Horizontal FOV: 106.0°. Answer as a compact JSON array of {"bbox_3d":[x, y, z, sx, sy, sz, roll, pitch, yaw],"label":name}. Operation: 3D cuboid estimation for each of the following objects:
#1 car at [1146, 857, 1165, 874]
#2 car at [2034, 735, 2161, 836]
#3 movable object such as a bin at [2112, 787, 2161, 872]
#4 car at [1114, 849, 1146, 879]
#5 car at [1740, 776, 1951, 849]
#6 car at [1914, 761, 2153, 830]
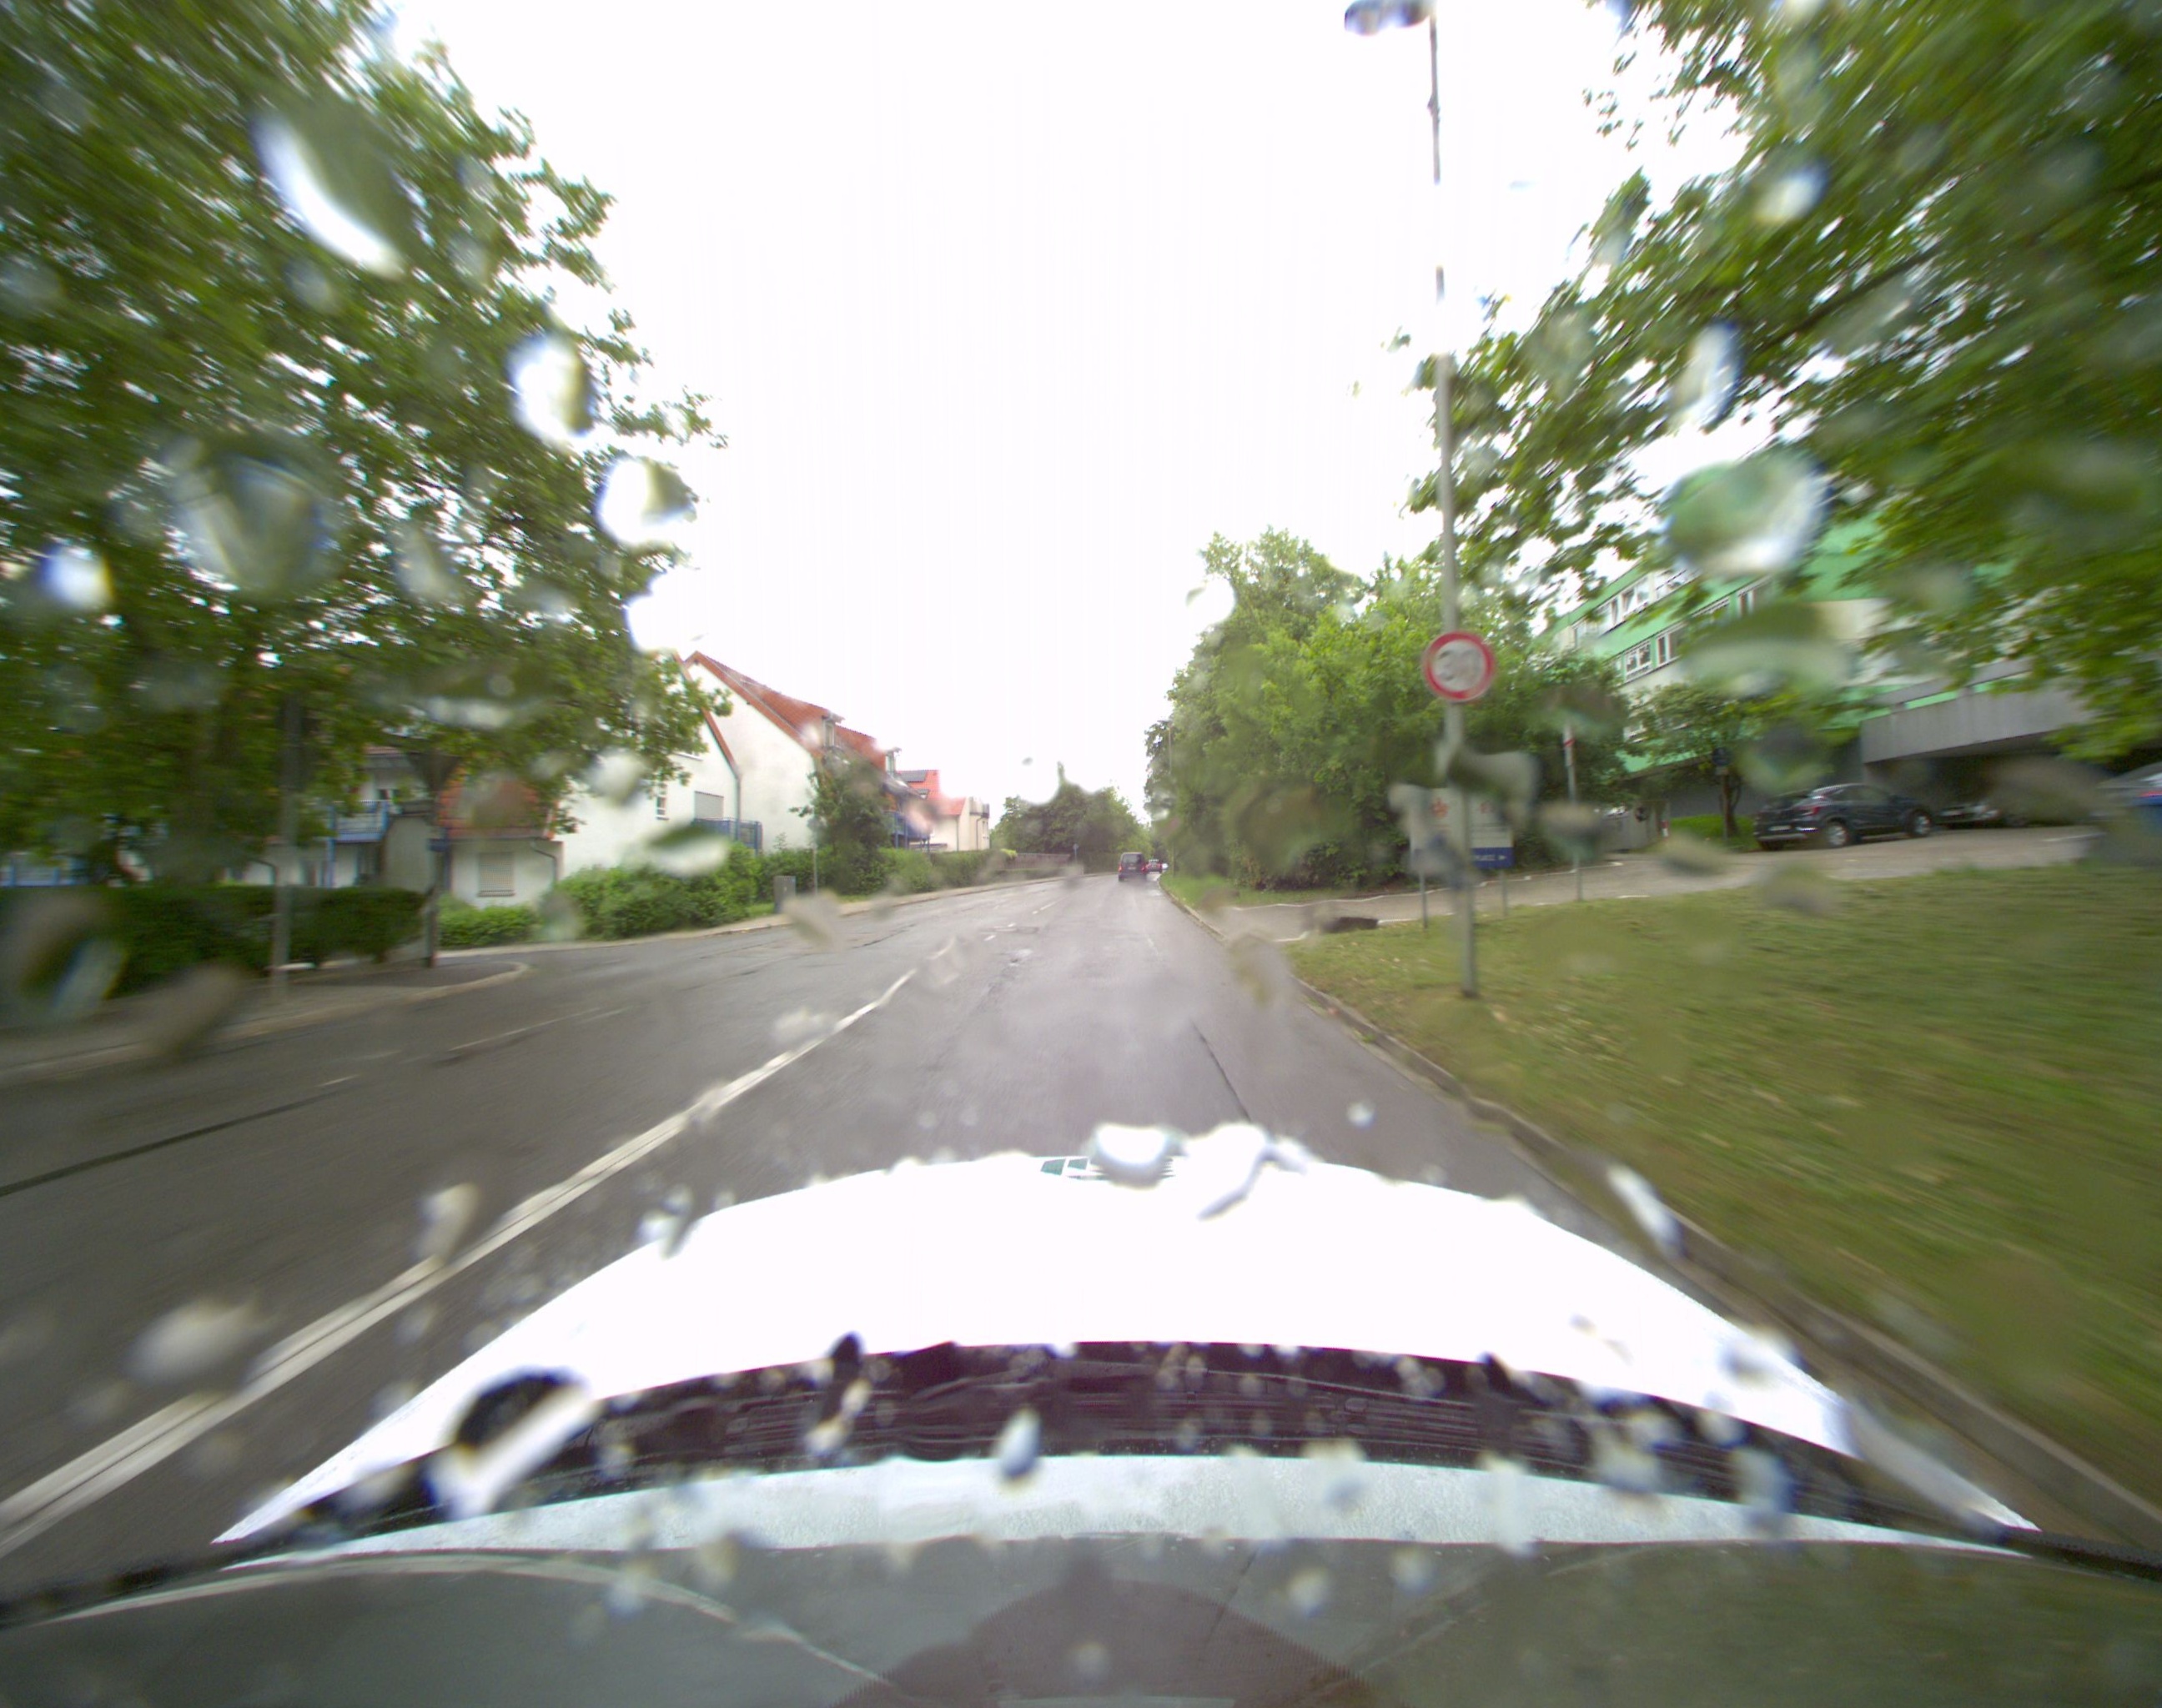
[{"bbox_3d":[8.305,1.232,90.088,1.940,1.750,4.008,-2,0,7],"label":"car"},{"bbox_3d":[21.213,-1.299,15.281,3.964,1.750,2.005,-2,0,8],"label":"car"},{"bbox_3d":[14.558,-0.319,10.912,0.667,1.120,0.662,1,-1,-3],"label":"movable object such as a bin"},{"bbox_3d":[3.190,0.614,52.879,1.985,1.794,4.004,1,0,4],"label":"car"},{"bbox_3d":[20.143,-1.065,21.566,3.984,1.750,1.995,-2,0,-8],"label":"car"},{"bbox_3d":[25.980,-1.547,22.361,3.964,1.574,1.939,-2,0,8],"label":"car"}]
